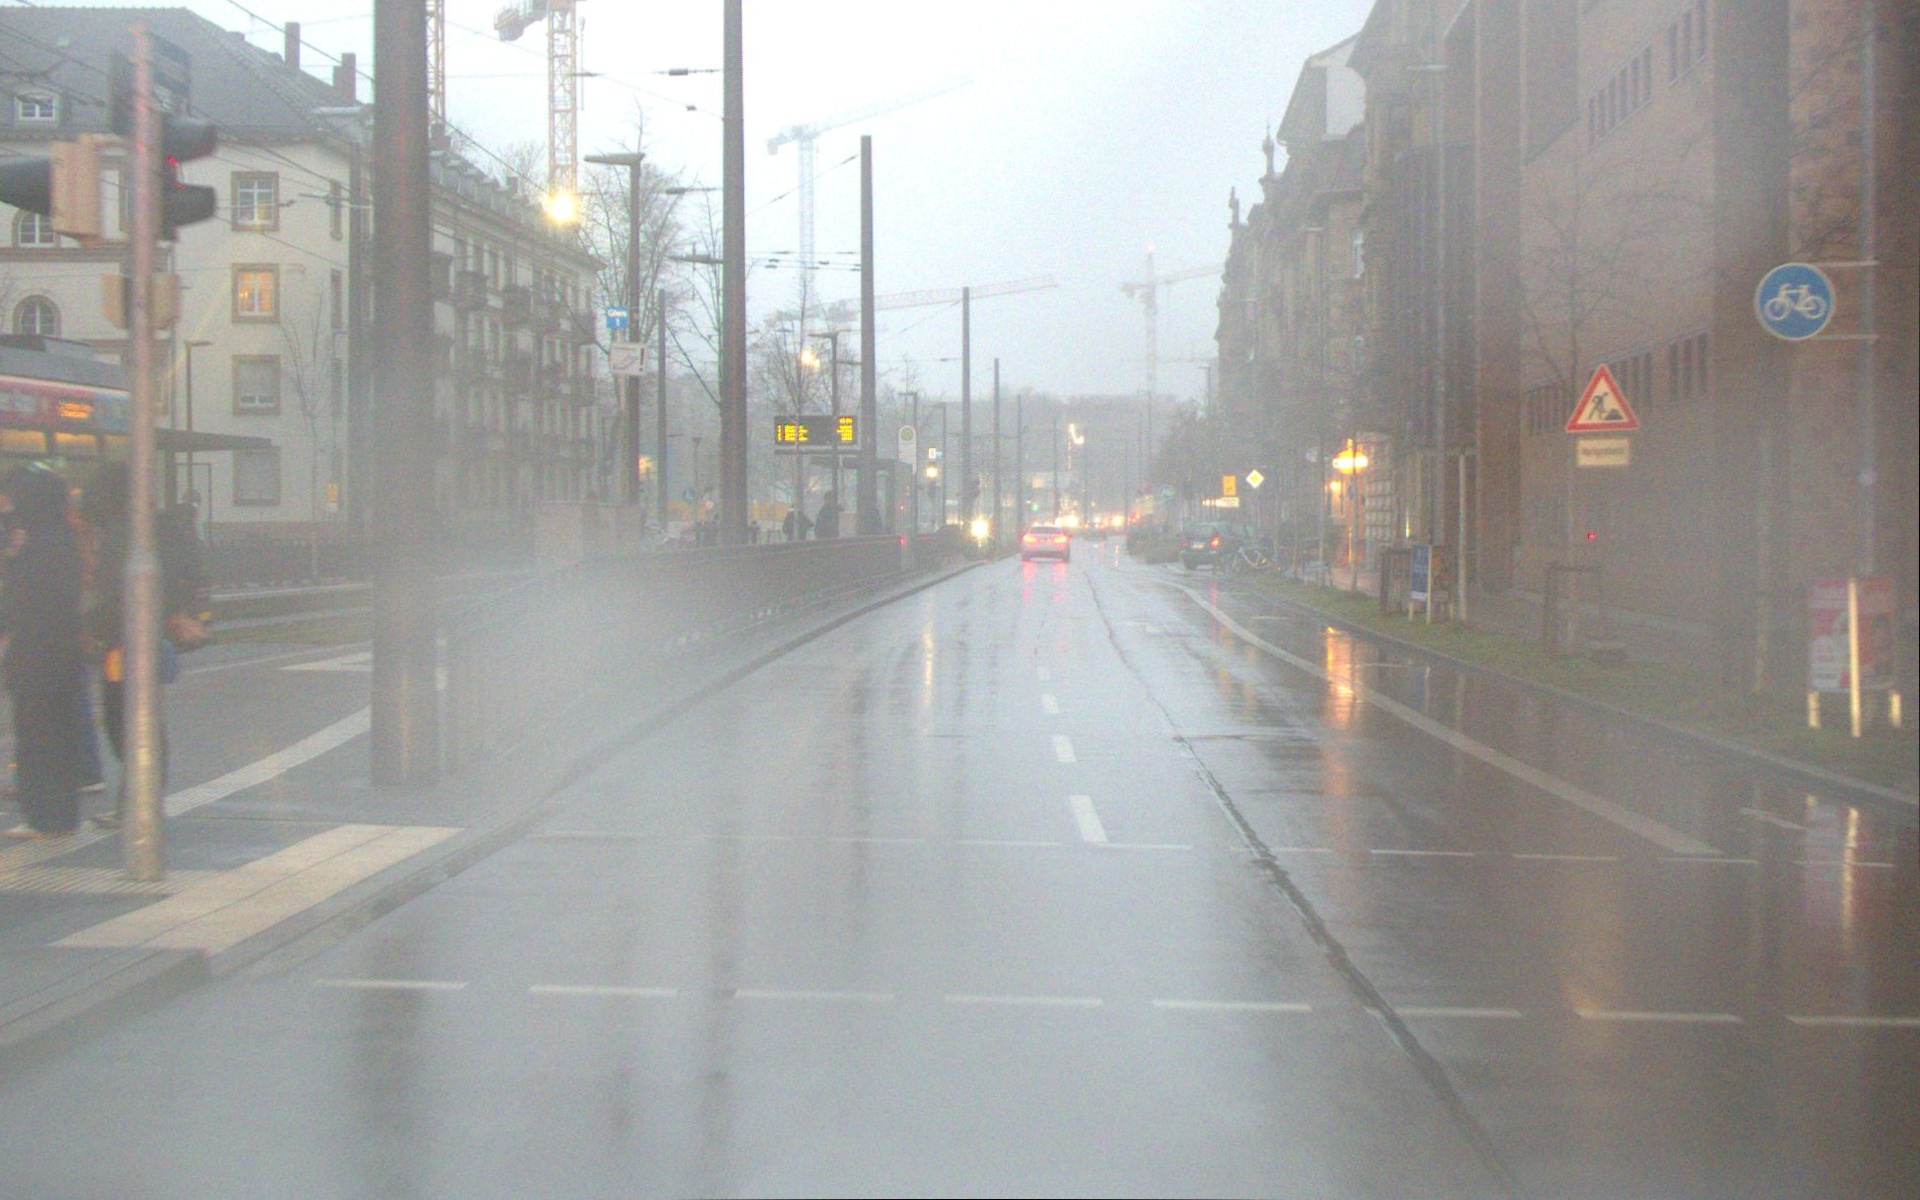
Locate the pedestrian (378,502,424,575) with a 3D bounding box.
[{"bbox_3d":[-11.868,-1.313,72.956,0.634,1.519,0.756,0,2,-39],"label":"pedestrian"}]

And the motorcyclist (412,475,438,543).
[{"bbox_3d":[-11.889,-2.022,76.410,0.499,1.490,0.556,1,1,-3],"label":"motorcyclist"}]

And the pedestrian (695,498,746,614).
[{"bbox_3d":[-3.542,-0.650,50.850,0.645,1.698,0.568,0,1,-15],"label":"pedestrian"}]

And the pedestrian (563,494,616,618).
[{"bbox_3d":[-4.792,-0.571,44.525,0.618,1.584,0.622,0,1,0],"label":"pedestrian"}]

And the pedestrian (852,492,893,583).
[{"bbox_3d":[-1.878,-1.352,73.714,0.809,1.940,0.804,0,2,3],"label":"pedestrian"}]

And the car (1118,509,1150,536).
[{"bbox_3d":[10.626,-4.729,209.492,1.799,1.598,3.769,0,1,5],"label":"car"}]

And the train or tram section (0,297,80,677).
[{"bbox_3d":[-10.628,-1.016,29.230,2.925,3.565,11.035,1,1,3],"label":"train or tram section"}]

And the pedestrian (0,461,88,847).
[{"bbox_3d":[-4.299,0.246,16.060,0.359,1.780,0.440,0,1,-3],"label":"pedestrian"}]

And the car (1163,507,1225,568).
[{"bbox_3d":[7.818,-2.096,114.745,1.994,2.007,4.000,0,1,4],"label":"car"}]

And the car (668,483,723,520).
[{"bbox_3d":[-10.005,-3.733,130.234,1.682,1.349,3.546,1,1,1],"label":"car"}]

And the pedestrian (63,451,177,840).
[{"bbox_3d":[-4.046,0.207,16.587,0.412,1.839,0.670,0,1,-3],"label":"pedestrian"}]

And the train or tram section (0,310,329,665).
[{"bbox_3d":[-10.116,-1.296,40.217,2.900,3.555,11.035,1,1,3],"label":"train or tram section"}]

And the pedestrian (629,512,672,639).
[{"bbox_3d":[-3.885,-0.309,43.158,0.481,1.584,0.563,0,1,0],"label":"pedestrian"}]

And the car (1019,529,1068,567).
[{"bbox_3d":[3.294,-2.051,135.764,1.784,1.462,3.148,0,2,4],"label":"car"}]

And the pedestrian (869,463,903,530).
[{"bbox_3d":[-1.703,-2.370,78.723,0.679,1.511,0.619,0,1,-10],"label":"pedestrian"}]

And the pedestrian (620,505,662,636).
[{"bbox_3d":[-4.095,-0.379,44.166,0.481,1.673,0.563,0,1,0],"label":"pedestrian"}]

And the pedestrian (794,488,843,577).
[{"bbox_3d":[-2.742,-1.302,66.476,0.776,1.698,0.773,0,1,-16],"label":"pedestrian"}]

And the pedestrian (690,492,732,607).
[{"bbox_3d":[-3.442,-0.701,47.545,0.540,1.584,0.563,0,1,0],"label":"pedestrian"}]

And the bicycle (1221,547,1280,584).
[{"bbox_3d":[8.627,-1.029,102.134,1.730,1.051,0.371,-1,1,1],"label":"bicycle"}]

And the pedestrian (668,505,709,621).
[{"bbox_3d":[-3.982,-0.543,50.456,0.540,1.686,0.643,0,1,0],"label":"pedestrian"}]

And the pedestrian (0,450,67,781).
[{"bbox_3d":[-4.988,0.075,18.168,0.433,1.729,0.473,0,1,-3],"label":"pedestrian"}]

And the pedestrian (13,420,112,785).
[{"bbox_3d":[-4.890,0.010,18.740,0.433,1.960,0.473,0,1,-3],"label":"pedestrian"}]

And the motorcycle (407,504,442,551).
[{"bbox_3d":[-11.896,-1.615,76.416,0.512,1.005,1.807,1,1,-2],"label":"motorcycle"}]

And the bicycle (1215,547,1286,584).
[{"bbox_3d":[8.900,-1.059,105.335,2.144,1.051,0.484,-1,1,1],"label":"bicycle"}]

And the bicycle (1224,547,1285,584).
[{"bbox_3d":[8.688,-1.012,101.407,1.730,1.051,0.371,-1,1,1],"label":"bicycle"}]
